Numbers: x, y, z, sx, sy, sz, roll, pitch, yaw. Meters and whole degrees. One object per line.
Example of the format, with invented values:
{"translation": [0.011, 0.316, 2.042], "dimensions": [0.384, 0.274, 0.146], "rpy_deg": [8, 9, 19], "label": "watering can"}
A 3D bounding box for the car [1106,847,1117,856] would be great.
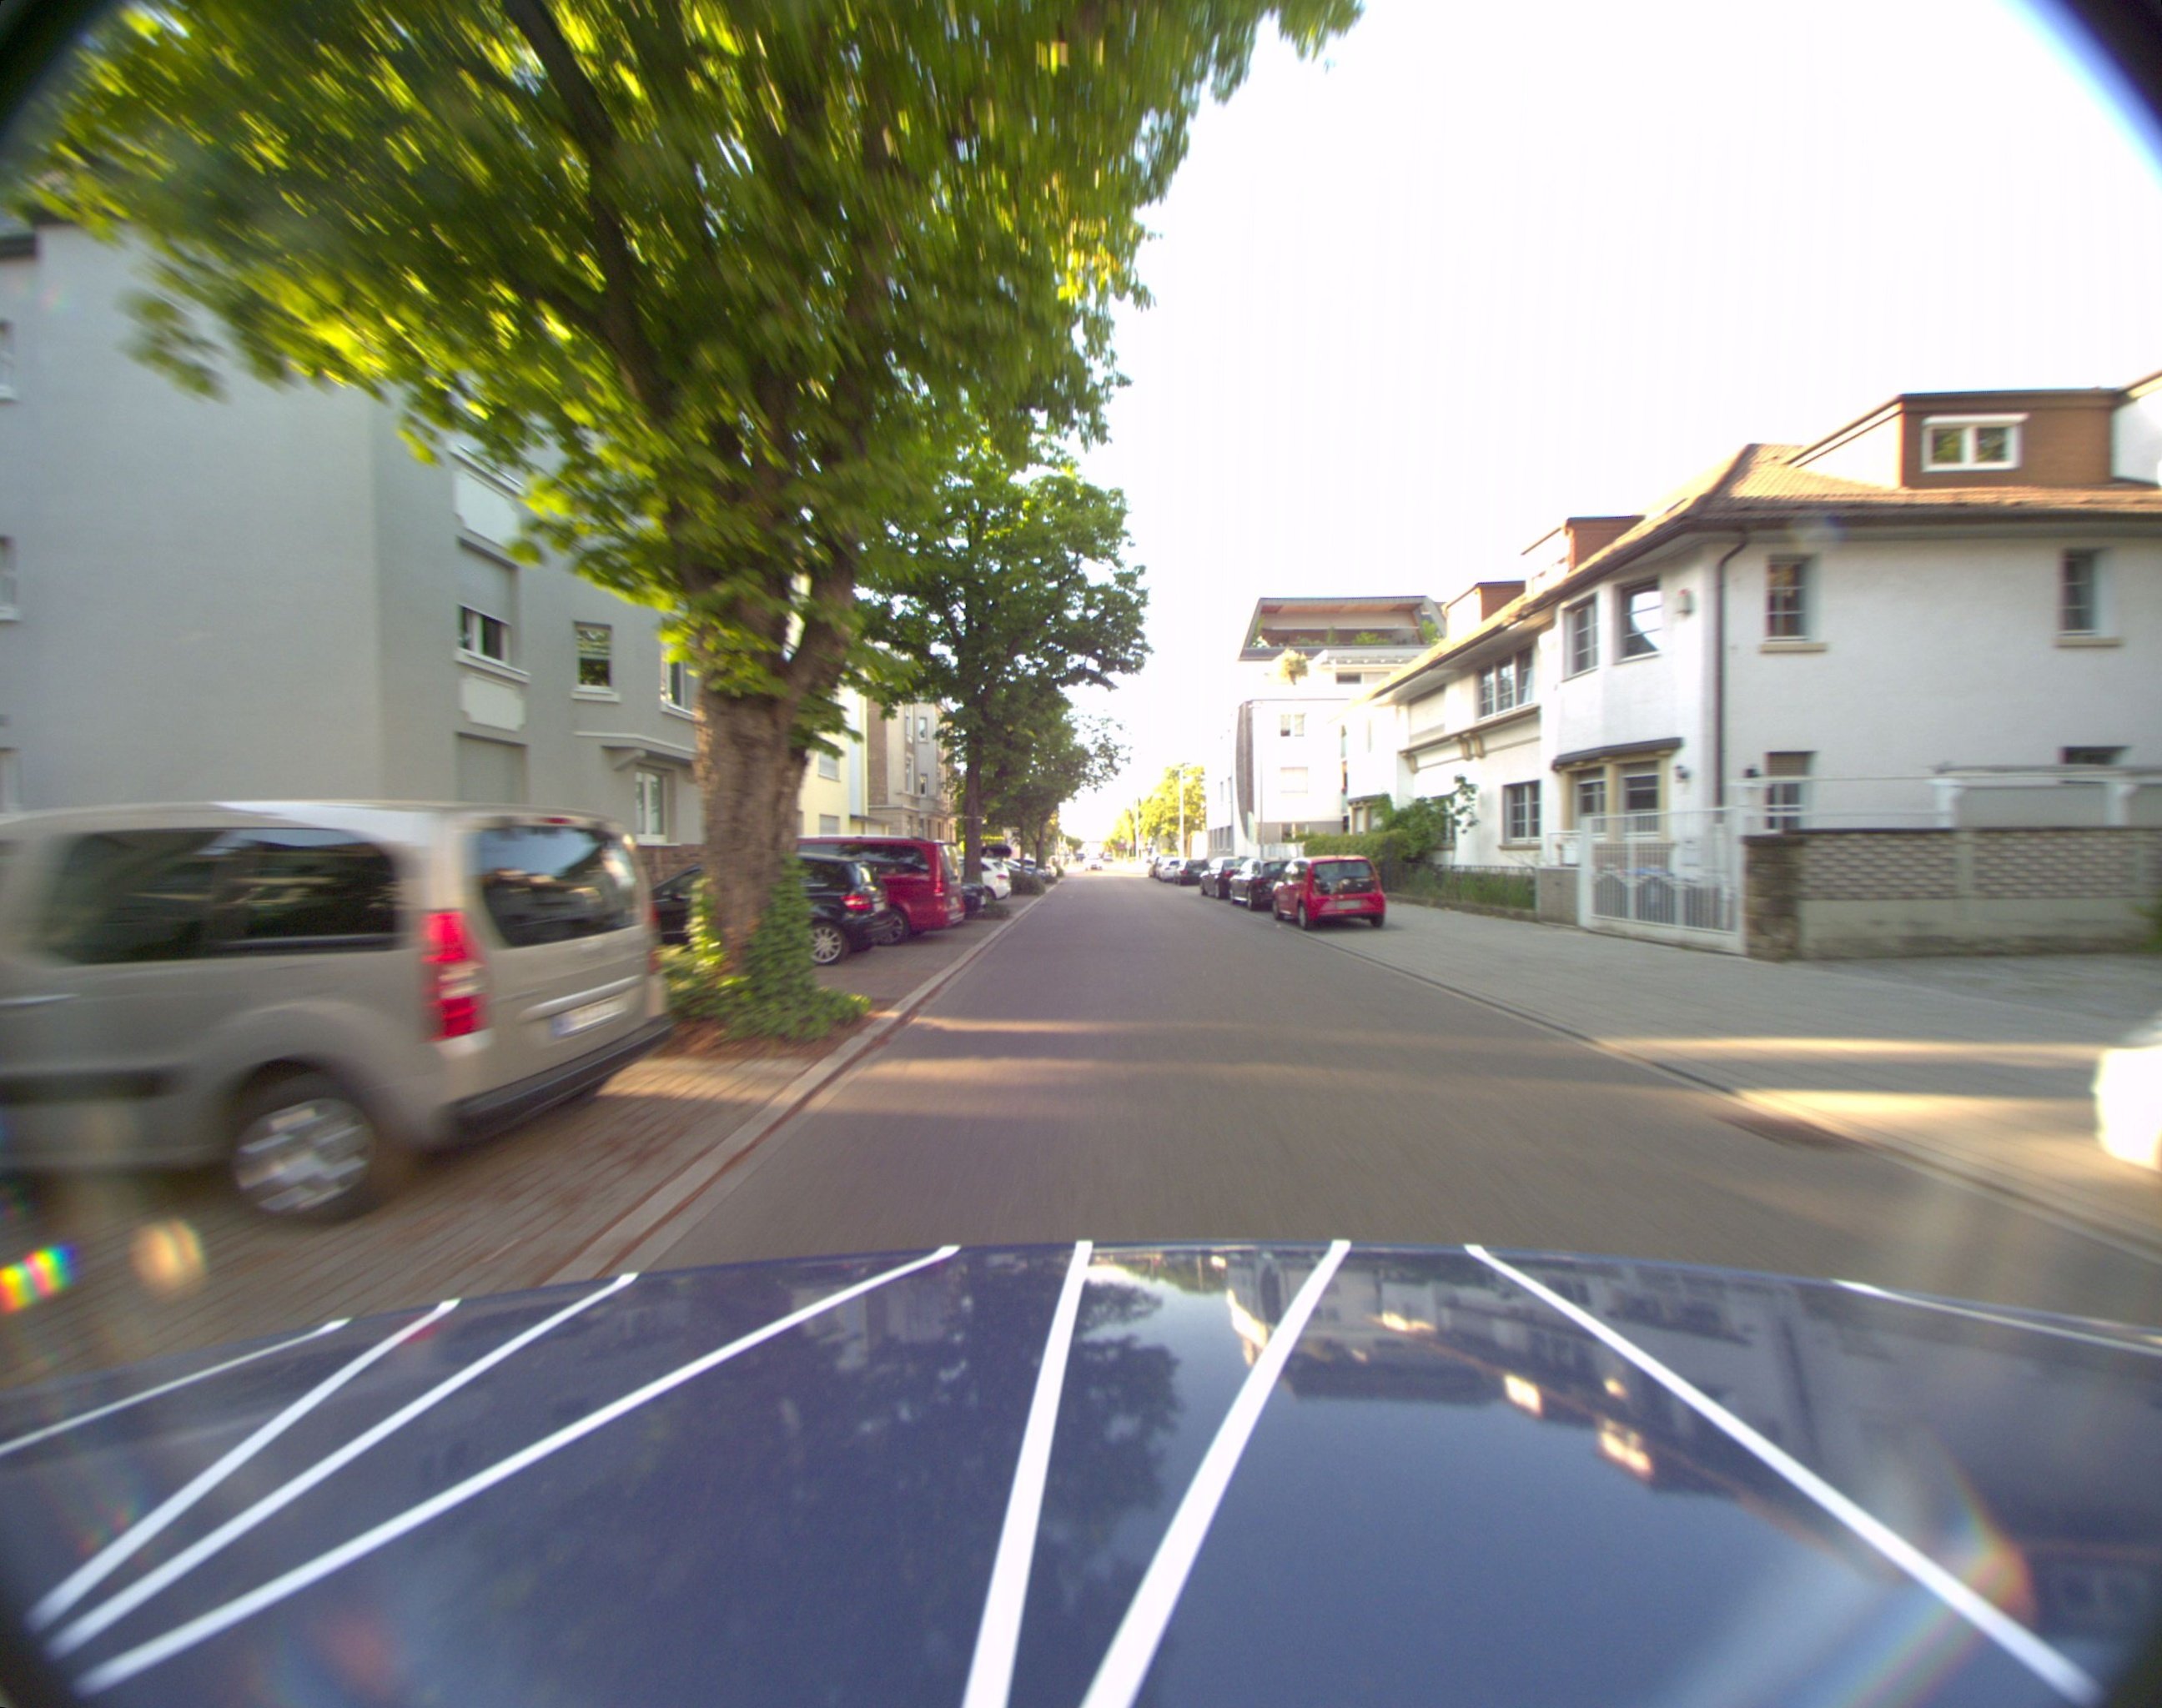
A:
{"translation": [6.008, -0.489, 149.977], "dimensions": [1.913, 1.679, 4.198], "rpy_deg": [-3, 0, 1], "label": "car"}

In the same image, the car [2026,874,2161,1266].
{"translation": [5.036, 0.839, 1.542], "dimensions": [1.585, 1.511, 3.706], "rpy_deg": [-2, 0, -1], "label": "car"}

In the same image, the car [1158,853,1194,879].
{"translation": [5.533, 0.681, 44.731], "dimensions": [1.723, 1.386, 3.908], "rpy_deg": [-3, 0, 2], "label": "car"}

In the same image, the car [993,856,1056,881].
{"translation": [-3.527, 0.869, 47.038], "dimensions": [3.828, 1.477, 1.600], "rpy_deg": [0, 0, -6], "label": "car"}

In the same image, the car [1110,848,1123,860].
{"translation": [5.571, -0.022, 118.788], "dimensions": [1.913, 1.679, 4.198], "rpy_deg": [-3, 0, 1], "label": "car"}

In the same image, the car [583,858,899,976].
{"translation": [-4.867, 0.877, 11.252], "dimensions": [3.903, 1.594, 1.687], "rpy_deg": [0, 0, 1], "label": "car"}

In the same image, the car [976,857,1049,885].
{"translation": [-3.742, 0.902, 41.714], "dimensions": [3.825, 1.477, 1.601], "rpy_deg": [0, 0, 1], "label": "car"}

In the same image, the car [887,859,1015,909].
{"translation": [-3.998, 0.906, 23.762], "dimensions": [3.680, 1.488, 1.676], "rpy_deg": [0, 0, 1], "label": "car"}

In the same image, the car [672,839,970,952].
{"translation": [-4.625, 0.715, 14.042], "dimensions": [4.819, 1.925, 1.950], "rpy_deg": [0, 0, 1], "label": "car"}

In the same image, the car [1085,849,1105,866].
{"translation": [1.406, 0.393, 80.286], "dimensions": [1.998, 1.690, 4.424], "rpy_deg": [-1, 0, 0], "label": "car"}

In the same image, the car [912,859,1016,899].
{"translation": [-4.413, 0.935, 29.065], "dimensions": [3.680, 1.434, 1.601], "rpy_deg": [0, 0, 1], "label": "car"}

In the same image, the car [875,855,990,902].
{"translation": [-5.153, 0.839, 26.724], "dimensions": [3.680, 1.589, 1.676], "rpy_deg": [0, 0, 1], "label": "car"}

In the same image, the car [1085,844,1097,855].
{"translation": [1.658, -0.719, 126.506], "dimensions": [1.913, 1.679, 4.198], "rpy_deg": [-3, 0, 1], "label": "car"}

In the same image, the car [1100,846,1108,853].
{"translation": [5.912, -1.152, 195.563], "dimensions": [1.913, 1.679, 4.198], "rpy_deg": [-3, 0, 1], "label": "car"}

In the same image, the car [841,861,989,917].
{"translation": [-4.500, 0.926, 20.946], "dimensions": [3.680, 1.453, 1.616], "rpy_deg": [0, 0, 1], "label": "car"}

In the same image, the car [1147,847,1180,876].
{"translation": [5.923, 0.528, 54.767], "dimensions": [1.913, 1.937, 4.198], "rpy_deg": [-3, 0, 1], "label": "car"}

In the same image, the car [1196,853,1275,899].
{"translation": [5.495, 0.718, 27.609], "dimensions": [1.743, 1.451, 4.564], "rpy_deg": [-3, 0, -2], "label": "car"}

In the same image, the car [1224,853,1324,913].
{"translation": [5.407, 0.747, 21.830], "dimensions": [1.742, 1.451, 4.378], "rpy_deg": [-3, 0, 1], "label": "car"}

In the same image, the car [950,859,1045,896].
{"translation": [-3.395, 0.937, 31.185], "dimensions": [3.680, 1.434, 1.601], "rpy_deg": [0, 0, 1], "label": "car"}

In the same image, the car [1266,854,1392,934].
{"translation": [5.218, 0.769, 16.411], "dimensions": [1.654, 1.474, 3.429], "rpy_deg": [-3, 0, 2], "label": "car"}

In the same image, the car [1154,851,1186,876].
{"translation": [5.820, 0.588, 49.856], "dimensions": [1.723, 1.489, 3.908], "rpy_deg": [-3, 0, 2], "label": "car"}

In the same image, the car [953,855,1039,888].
{"translation": [-3.971, 0.807, 35.716], "dimensions": [3.825, 1.477, 1.601], "rpy_deg": [0, 0, 1], "label": "car"}

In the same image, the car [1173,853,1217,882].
{"translation": [5.832, 0.671, 39.235], "dimensions": [1.723, 1.386, 3.908], "rpy_deg": [-3, 0, 2], "label": "car"}

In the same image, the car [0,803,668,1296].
{"translation": [-4.699, 0.741, 3.733], "dimensions": [4.313, 1.874, 1.758], "rpy_deg": [0, 1, -2], "label": "car"}

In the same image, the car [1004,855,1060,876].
{"translation": [-3.487, 0.818, 54.572], "dimensions": [3.825, 1.477, 1.601], "rpy_deg": [0, 0, 1], "label": "car"}

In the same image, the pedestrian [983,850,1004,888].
{"translation": [-4.706, 0.777, 40.794], "dimensions": [0.999, 2.002, 0.981], "rpy_deg": [-1, 0, -2], "label": "pedestrian"}

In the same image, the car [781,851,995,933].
{"translation": [-4.171, 0.801, 16.801], "dimensions": [4.207, 1.695, 1.792], "rpy_deg": [0, 0, 4], "label": "car"}
